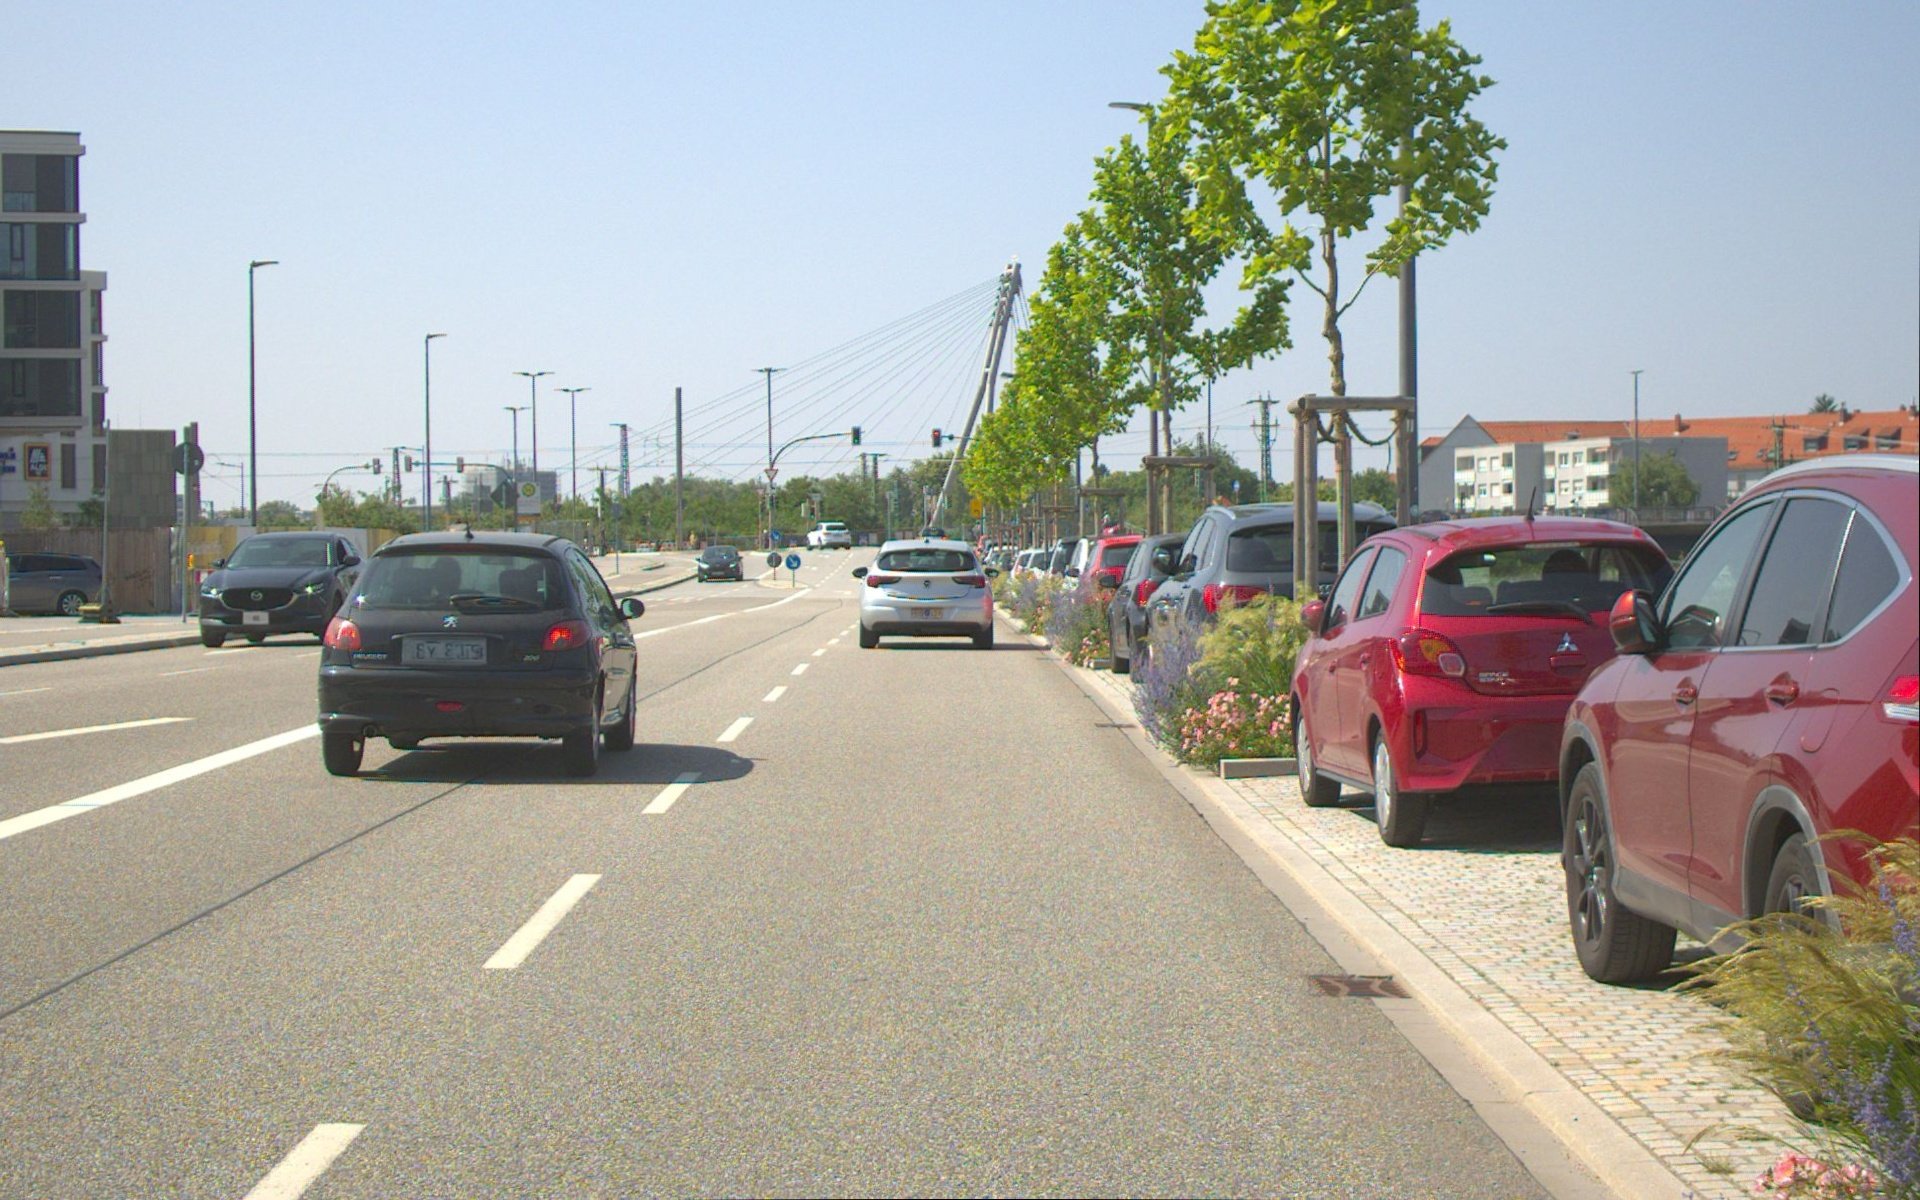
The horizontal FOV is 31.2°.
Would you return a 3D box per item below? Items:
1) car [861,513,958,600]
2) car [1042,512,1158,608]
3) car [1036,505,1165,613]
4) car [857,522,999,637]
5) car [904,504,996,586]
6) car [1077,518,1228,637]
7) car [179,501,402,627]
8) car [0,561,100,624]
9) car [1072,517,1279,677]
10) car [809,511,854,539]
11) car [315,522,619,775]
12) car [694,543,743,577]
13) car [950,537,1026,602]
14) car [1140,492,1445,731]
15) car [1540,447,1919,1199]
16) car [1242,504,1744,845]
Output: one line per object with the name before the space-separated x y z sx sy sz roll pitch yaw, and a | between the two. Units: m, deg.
car | -1.039 -0.943 72.757 1.793 1.744 4.000 1 1 2
car | 2.418 -0.700 59.014 1.908 1.572 4.157 0 1 3
car | 2.065 -0.631 51.287 1.717 1.519 3.643 1 1 0
car | -0.393 -0.310 46.579 1.778 1.437 4.000 2 2 1
car | -0.183 -1.107 70.584 1.778 1.563 4.000 1 0 1
car | 2.537 -0.341 46.099 1.717 1.446 4.001 1 2 -1
car | -9.086 -0.515 47.022 1.903 1.622 4.387 -1 1 4
car | -21.107 -0.144 74.740 4.234 1.313 2.000 -2 1 -35
car | 2.093 -0.081 34.398 1.633 1.424 4.241 -2 2 -2
car | -7.791 -4.558 207.787 1.854 1.644 4.001 1 1 -14
car | -2.996 0.238 21.472 1.619 1.411 3.728 1 1 -5
car | -9.916 -1.653 141.382 1.704 1.347 4.456 -1 1 0
car | 0.711 -0.762 83.559 1.746 1.504 4.001 1 1 2
car | 2.418 0.032 25.988 1.734 1.603 4.241 -2 1 -2
car | 2.912 0.406 9.442 1.908 1.611 4.549 0 2 1
car | 2.571 0.294 17.440 1.603 1.486 3.819 -2 1 -5
